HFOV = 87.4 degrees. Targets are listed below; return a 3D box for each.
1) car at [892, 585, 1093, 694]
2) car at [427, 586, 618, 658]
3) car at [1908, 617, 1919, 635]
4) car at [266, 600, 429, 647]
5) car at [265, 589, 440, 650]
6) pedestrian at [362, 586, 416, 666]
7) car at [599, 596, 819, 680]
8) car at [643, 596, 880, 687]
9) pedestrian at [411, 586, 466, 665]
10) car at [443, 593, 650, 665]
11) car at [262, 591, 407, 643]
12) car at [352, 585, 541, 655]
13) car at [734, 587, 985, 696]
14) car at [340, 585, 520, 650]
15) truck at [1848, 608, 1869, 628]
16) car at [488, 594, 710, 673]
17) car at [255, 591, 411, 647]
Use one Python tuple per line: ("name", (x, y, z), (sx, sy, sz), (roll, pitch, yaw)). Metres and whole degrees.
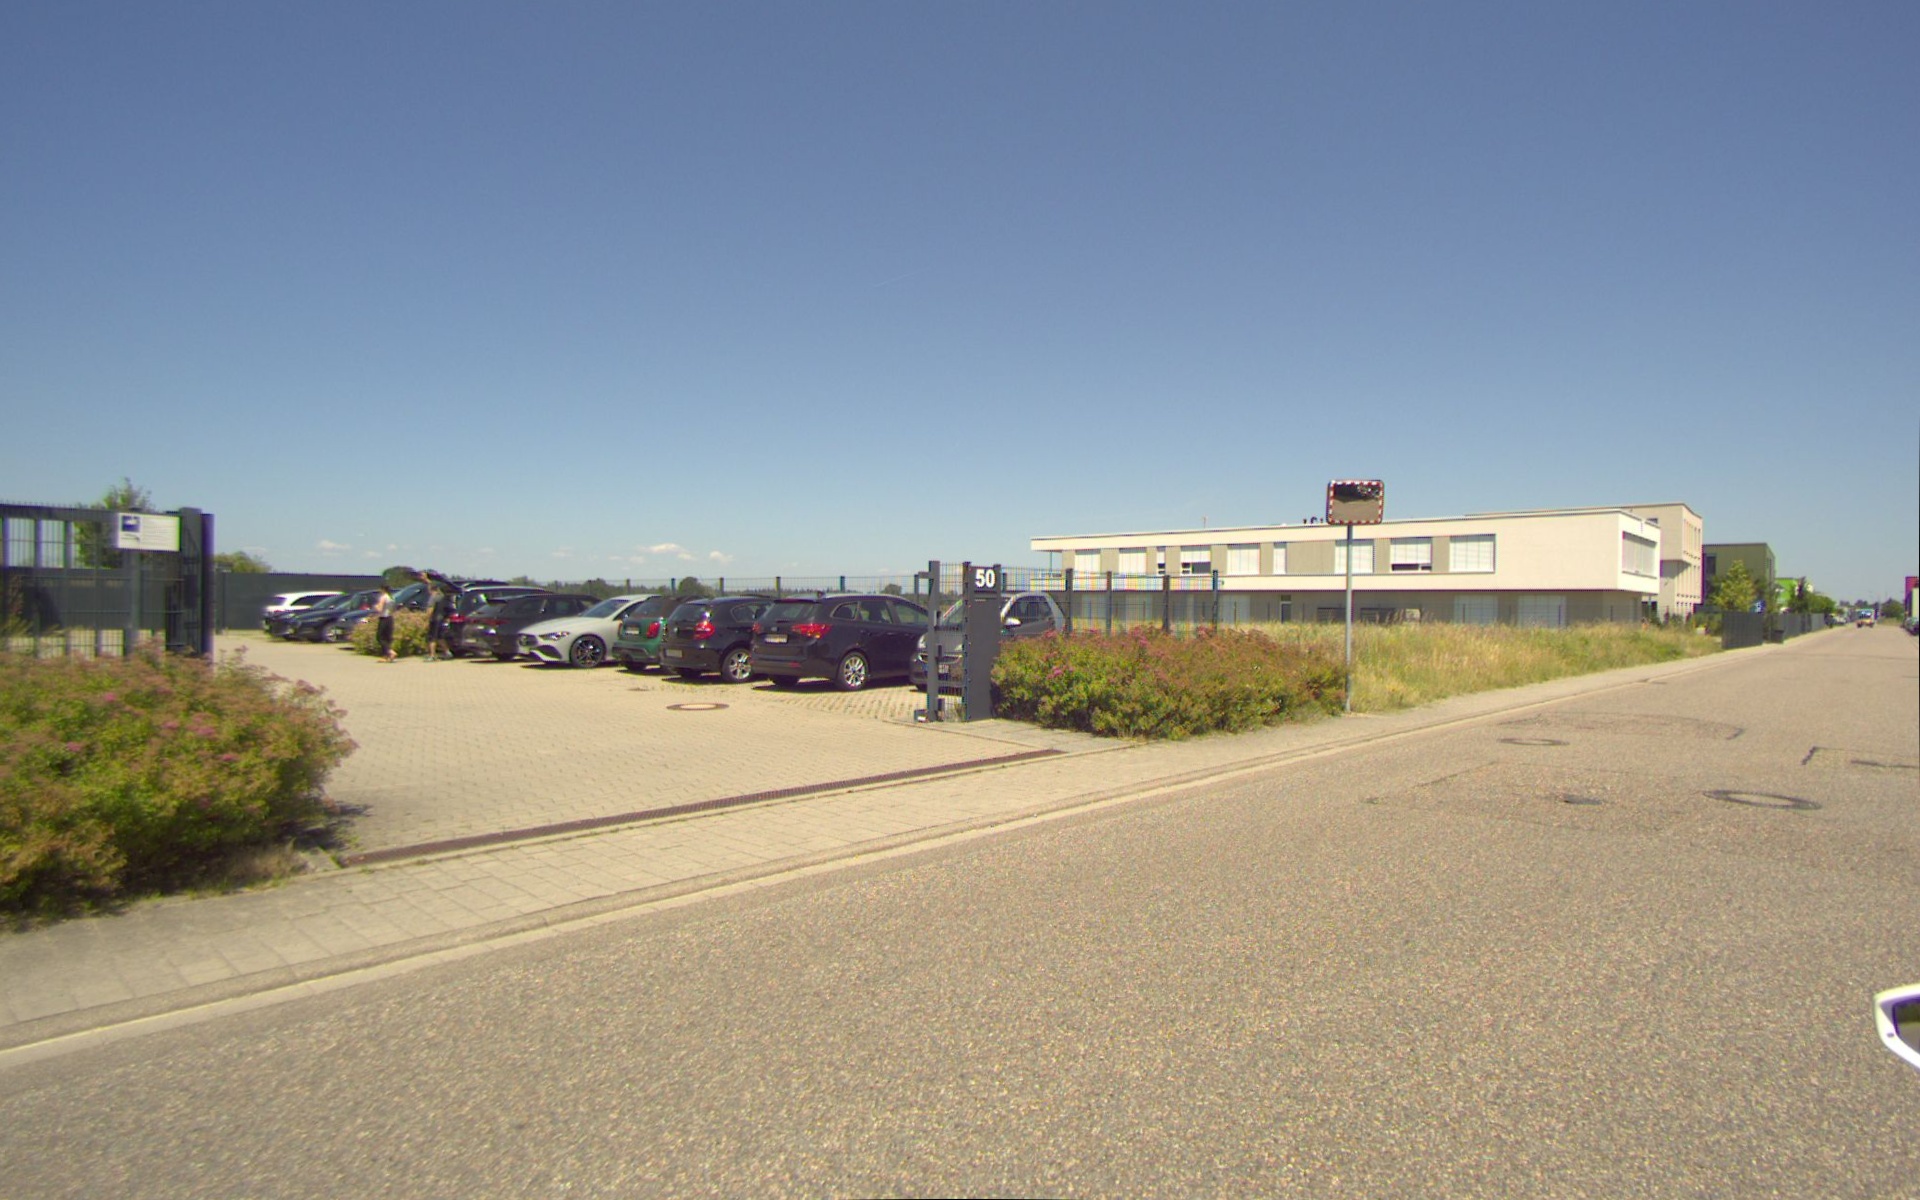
("car", (0.570, 0.570, 15.798), (1.680, 1.540, 2.983), (0, 0, 41))
("car", (-10.595, 0.508, 24.546), (1.652, 1.627, 3.980), (0, 0, 40))
("car", (97.898, 2.688, 102.325), (1.756, 1.751, 3.977), (3, 1, 43))
("car", (-18.946, 0.698, 31.168), (1.972, 1.327, 3.976), (1, 0, 43))
("car", (-17.380, 0.532, 28.868), (1.652, 1.627, 3.980), (1, 0, 40))
("pedestrian", (-12.203, 0.545, 21.472), (0.610, 1.651, 0.774), (1, 0, 29))
("car", (-4.803, 0.686, 19.674), (1.652, 1.459, 3.980), (0, 0, 40))
("car", (-3.470, 0.678, 18.116), (1.780, 1.459, 3.980), (0, 0, 40))
("pedestrian", (-11.452, 0.551, 22.064), (0.700, 1.705, 0.827), (1, 0, 35))
("car", (-9.108, 0.604, 22.359), (1.652, 1.459, 3.980), (0, 0, 40))
("car", (-21.985, 0.587, 35.395), (1.972, 1.706, 3.976), (1, 0, 43))
("car", (-12.962, 0.487, 25.523), (1.652, 1.627, 3.980), (0, -1, 40))
("car", (-1.540, 0.617, 16.509), (1.804, 1.561, 3.980), (0, 0, 40))
("car", (-14.243, 0.457, 27.161), (1.652, 1.627, 3.980), (1, 0, 40))
("truck", (165.555, 3.241, 185.182), (2.569, 3.592, 10.449), (-1, -1, 40))
("car", (-7.259, 0.629, 20.507), (1.652, 1.459, 3.980), (0, 0, 40))
("car", (-20.439, 0.609, 32.841), (1.972, 1.706, 3.976), (1, 0, 43))
